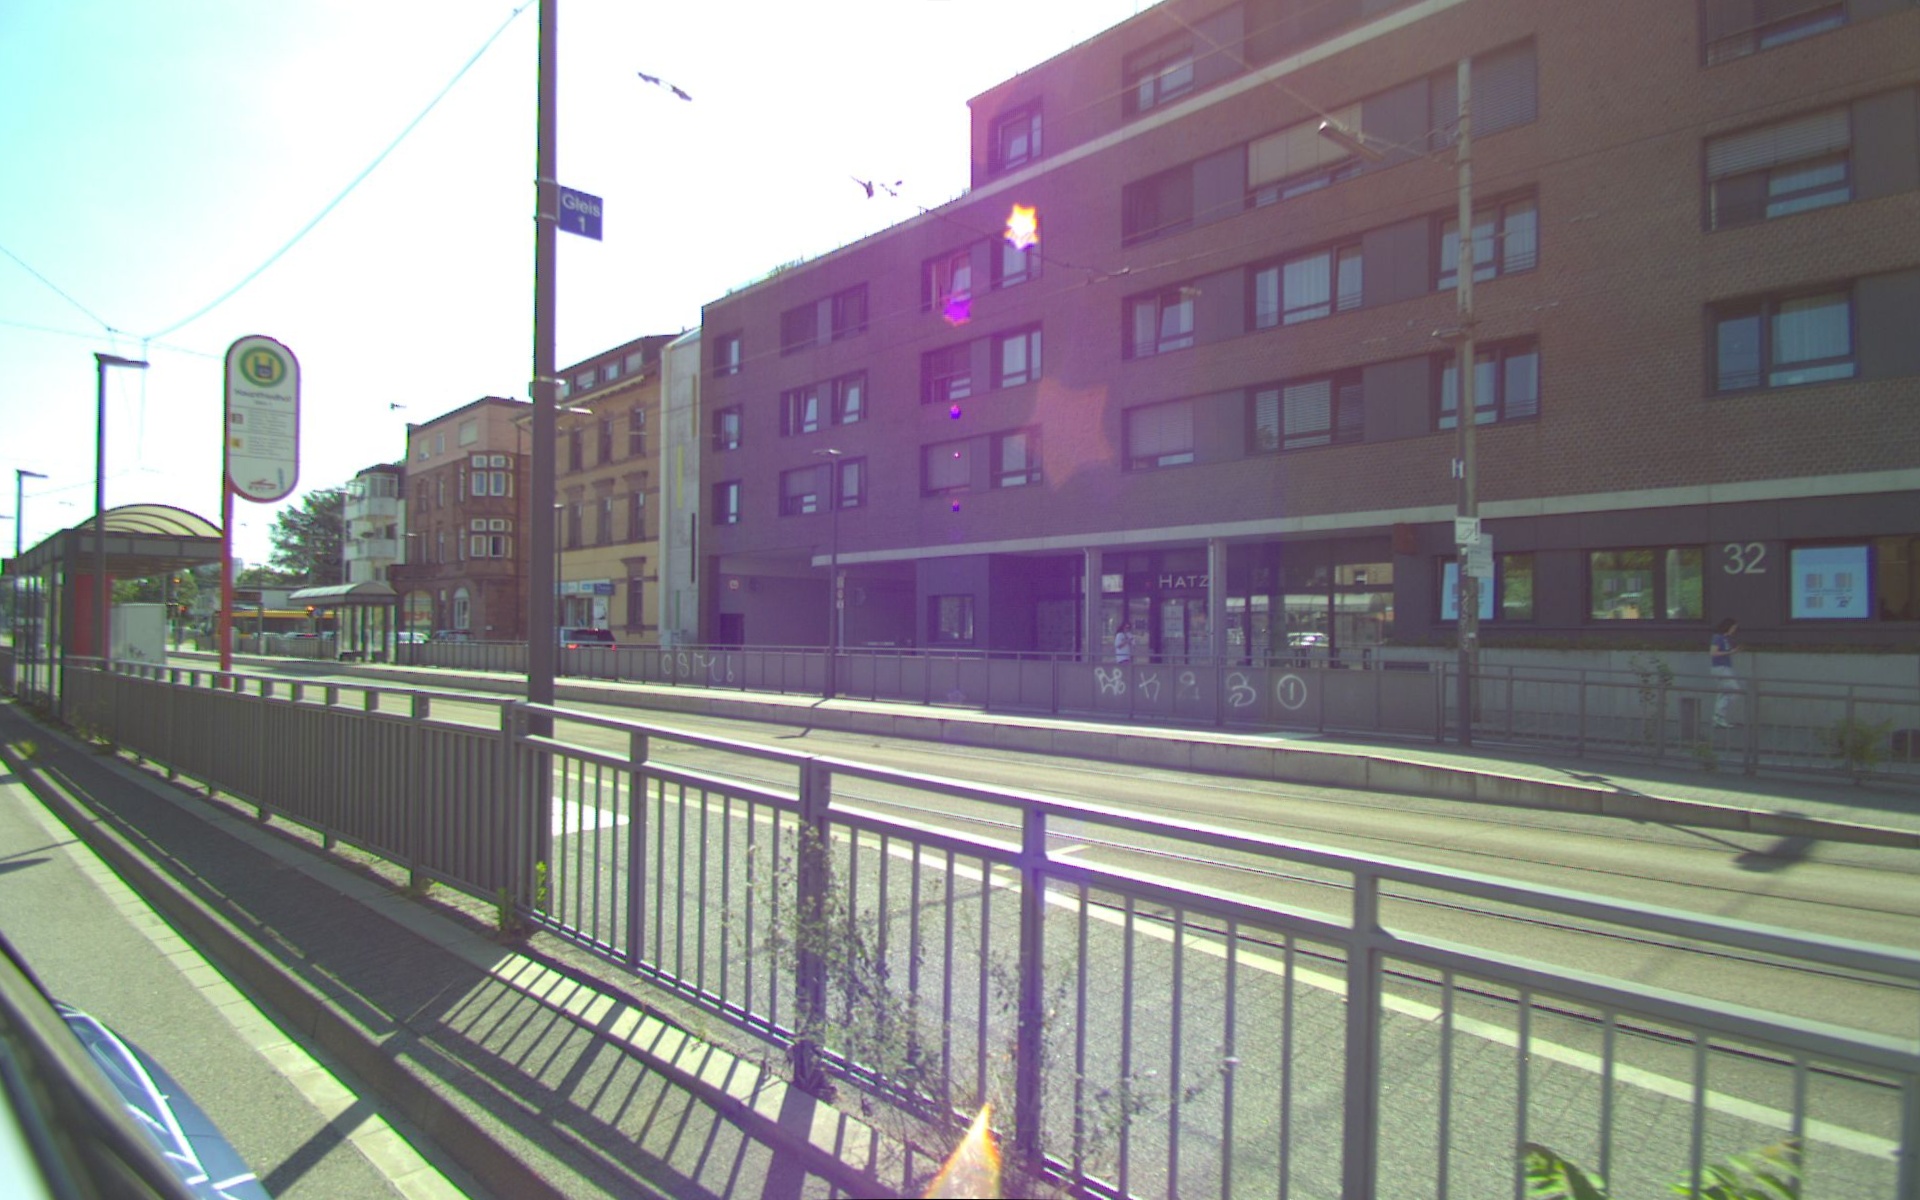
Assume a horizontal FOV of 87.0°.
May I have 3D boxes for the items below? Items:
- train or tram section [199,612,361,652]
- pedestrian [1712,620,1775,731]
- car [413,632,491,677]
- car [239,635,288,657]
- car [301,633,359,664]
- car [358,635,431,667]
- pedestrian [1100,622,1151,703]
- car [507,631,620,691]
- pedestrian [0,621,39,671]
[{"bbox_3d":[-63.660,3.012,95.346,2.672,3.507,13.228,-1,-2,24],"label":"train or tram section"},{"bbox_3d":[12.203,1.158,15.767,0.699,1.677,0.575,-2,-3,42],"label":"pedestrian"},{"bbox_3d":[-19.981,2.099,39.763,3.580,1.635,1.692,-2,-2,44],"label":"car"},{"bbox_3d":[-42.641,2.810,61.960,4.080,1.253,1.693,-2,-1,44],"label":"car"},{"bbox_3d":[-31.976,2.450,51.327,3.866,1.480,1.607,-3,-3,44],"label":"car"},{"bbox_3d":[-25.484,2.269,45.536,4.522,1.374,1.613,-2,-3,44],"label":"car"},{"bbox_3d":[3.852,1.439,23.617,0.839,1.833,0.835,-2,-3,44],"label":"pedestrian"},{"bbox_3d":[-12.712,1.906,32.316,4.190,1.742,1.780,-2,-1,44],"label":"car"},{"bbox_3d":[-36.242,1.760,38.998,1.238,1.873,0.970,-2,-3,44],"label":"pedestrian"}]
